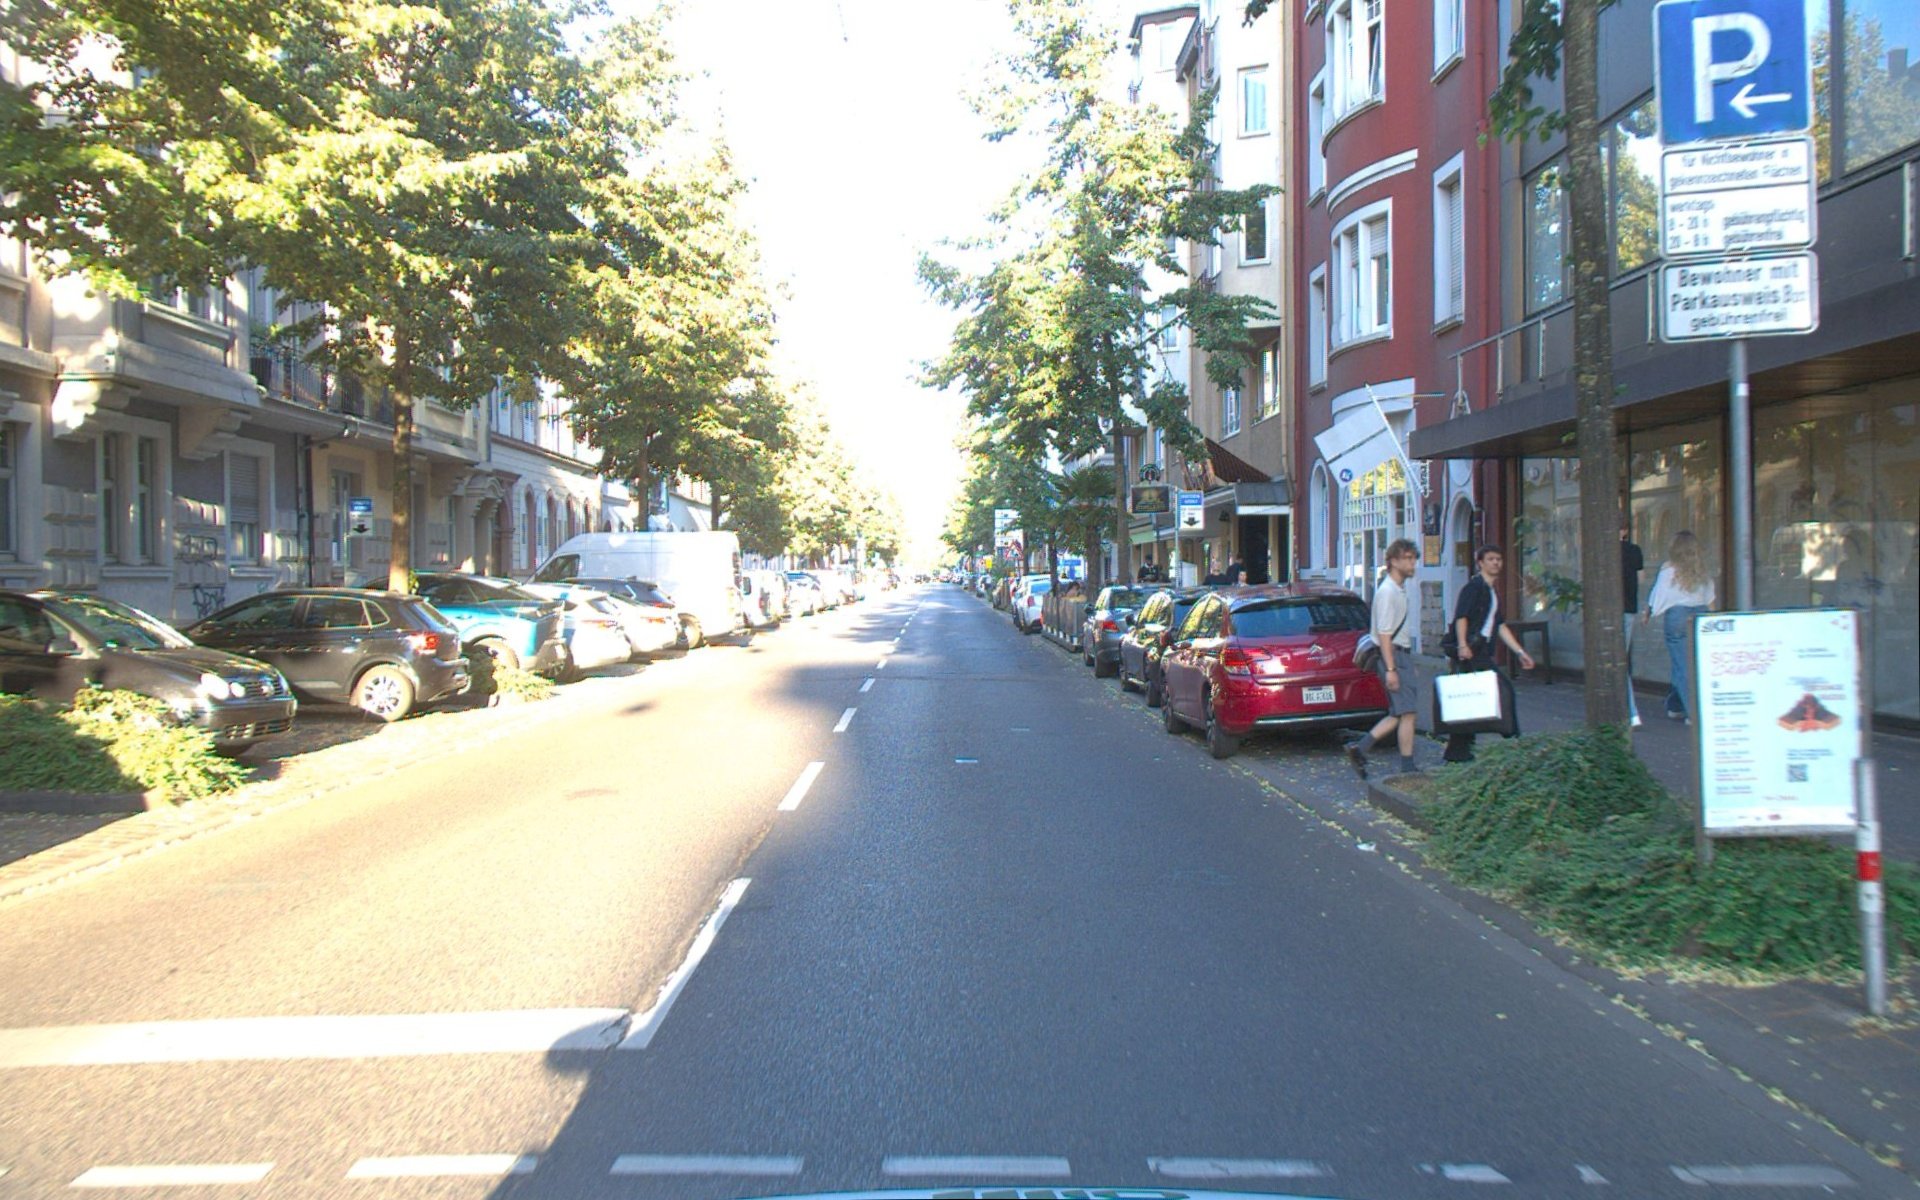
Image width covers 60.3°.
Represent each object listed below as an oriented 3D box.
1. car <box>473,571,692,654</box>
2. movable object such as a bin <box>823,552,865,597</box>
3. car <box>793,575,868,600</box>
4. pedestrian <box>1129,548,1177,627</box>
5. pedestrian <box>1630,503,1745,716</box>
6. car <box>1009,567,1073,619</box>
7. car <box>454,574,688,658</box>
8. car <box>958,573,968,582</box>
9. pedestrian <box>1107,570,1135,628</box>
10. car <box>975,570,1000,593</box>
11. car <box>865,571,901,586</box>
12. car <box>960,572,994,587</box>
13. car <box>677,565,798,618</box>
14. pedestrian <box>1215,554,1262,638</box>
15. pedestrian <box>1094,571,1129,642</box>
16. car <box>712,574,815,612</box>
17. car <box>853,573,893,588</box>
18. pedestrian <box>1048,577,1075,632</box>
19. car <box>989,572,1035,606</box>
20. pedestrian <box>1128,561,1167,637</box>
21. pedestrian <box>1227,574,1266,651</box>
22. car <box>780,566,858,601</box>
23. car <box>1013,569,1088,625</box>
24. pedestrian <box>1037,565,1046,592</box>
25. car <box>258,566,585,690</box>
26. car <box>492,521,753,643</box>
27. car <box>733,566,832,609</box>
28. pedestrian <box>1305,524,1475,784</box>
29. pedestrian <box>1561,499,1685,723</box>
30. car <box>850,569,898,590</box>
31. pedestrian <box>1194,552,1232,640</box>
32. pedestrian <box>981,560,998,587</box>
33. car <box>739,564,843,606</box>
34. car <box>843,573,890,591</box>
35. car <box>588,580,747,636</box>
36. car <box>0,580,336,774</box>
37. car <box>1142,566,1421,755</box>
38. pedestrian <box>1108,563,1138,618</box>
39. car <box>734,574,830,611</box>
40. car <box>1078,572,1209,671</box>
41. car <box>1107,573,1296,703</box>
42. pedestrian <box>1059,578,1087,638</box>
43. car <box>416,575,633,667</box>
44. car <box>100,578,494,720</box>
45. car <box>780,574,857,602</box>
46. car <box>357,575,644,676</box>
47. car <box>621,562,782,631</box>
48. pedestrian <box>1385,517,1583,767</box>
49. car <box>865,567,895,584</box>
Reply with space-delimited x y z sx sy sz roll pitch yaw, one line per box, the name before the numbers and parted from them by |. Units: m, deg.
car | -7.876 0.241 34.776 4.126 1.628 1.976 1 1 0
movable object such as a bin | -7.882 -1.714 112.830 2.571 3.021 5.302 0 1 -1
car | -8.193 -0.805 104.869 4.499 1.495 1.893 1 1 2
pedestrian | 4.841 -0.323 41.526 0.869 1.916 0.790 -3 2 -39
pedestrian | 6.555 0.078 14.938 0.577 1.840 0.835 -3 0 -1
car | 2.685 -0.258 56.009 1.841 1.601 4.691 -3 1 0
car | -7.505 0.292 32.196 4.127 1.532 1.793 1 1 -1
car | 0.431 -3.485 257.352 1.482 1.298 3.304 0 0 0
pedestrian | 4.018 -0.020 41.308 0.565 1.408 0.603 -2 0 -1
car | 2.021 -1.364 121.432 1.652 1.602 4.013 -3 1 -1
car | -9.624 -2.682 207.485 4.351 1.789 1.919 0 0 0
car | 1.819 -2.225 177.920 1.645 1.616 3.801 1 1 42
car | -7.946 -0.300 59.230 4.053 1.838 1.807 0 1 1
pedestrian | 6.482 -0.105 38.472 0.784 1.916 0.876 0 2 31
pedestrian | 3.325 0.140 36.360 0.618 1.511 0.795 -2 1 -1
car | -7.827 -0.290 66.219 3.978 1.487 1.685 -1 1 -3
car | -9.678 -2.173 183.463 4.351 1.595 1.919 0 0 0
pedestrian | 2.538 0.099 41.426 0.565 1.342 0.704 -2 0 -1
car | 2.473 -0.557 80.035 1.792 1.514 4.847 -3 1 -3
pedestrian | 4.128 -0.021 36.391 0.693 1.626 0.795 -2 1 -1
pedestrian | 5.729 0.246 33.102 0.611 1.514 0.640 -2 0 0
car | -8.206 -0.963 96.434 4.391 2.010 2.068 0 1 0
car | 2.640 -0.121 49.294 1.804 1.506 5.189 -3 1 -1
pedestrian | 5.846 -1.540 118.722 0.452 1.908 0.499 -1 1 -16
car | -7.684 0.382 23.944 4.148 1.679 1.891 1 1 -5
car | -7.710 -0.415 38.241 5.543 2.667 2.171 1 1 -1
car | -8.171 -0.596 76.257 4.338 1.902 1.894 -1 1 0
pedestrian | 3.194 0.387 12.331 0.721 1.816 0.862 -5 0 -27
pedestrian | 5.898 0.092 14.753 0.613 1.900 0.976 -3 0 -1
car | -8.262 -1.932 159.324 4.478 1.996 1.990 0 0 -1
pedestrian | 5.021 -0.083 32.814 0.611 1.706 0.640 -2 0 0
pedestrian | 2.053 -1.849 116.250 0.995 1.857 0.778 -3 1 -11
car | -8.044 -0.723 78.935 4.771 1.941 1.973 -1 1 -1
car | -9.137 -1.776 162.023 4.478 1.727 2.060 0 0 0
car | -7.670 0.209 43.591 3.907 1.429 1.749 0 0 -3
car | -7.525 0.596 14.078 3.707 1.474 1.790 1 1 1
car | 3.005 0.483 16.476 1.687 1.518 4.751 -3 1 -1
pedestrian | 5.558 -0.332 56.447 0.839 1.825 0.996 -2 0 -4
car | -7.625 -0.336 71.159 3.955 1.509 1.963 -1 1 -1
car | 3.065 0.297 28.559 1.738 1.465 5.001 -3 1 1
car | 3.148 0.432 22.397 1.739 1.496 4.417 -3 1 -1
pedestrian | 2.703 0.187 39.734 0.565 1.408 0.603 -2 0 -1
car | -7.755 0.351 29.669 3.336 1.536 1.847 1 1 2
car | -7.530 0.531 19.078 3.837 1.474 1.696 1 1 -4
car | -7.883 -0.664 92.293 4.242 1.527 1.840 1 1 -6
car | -7.347 0.385 26.772 4.101 1.508 1.970 1 1 -2
car | -7.598 -0.106 48.870 4.407 1.987 1.919 0 1 1
pedestrian | 4.090 0.309 12.946 1.034 1.816 0.937 -4 0 -27
car | -11.801 -3.672 244.899 4.351 2.477 1.919 0 0 0
